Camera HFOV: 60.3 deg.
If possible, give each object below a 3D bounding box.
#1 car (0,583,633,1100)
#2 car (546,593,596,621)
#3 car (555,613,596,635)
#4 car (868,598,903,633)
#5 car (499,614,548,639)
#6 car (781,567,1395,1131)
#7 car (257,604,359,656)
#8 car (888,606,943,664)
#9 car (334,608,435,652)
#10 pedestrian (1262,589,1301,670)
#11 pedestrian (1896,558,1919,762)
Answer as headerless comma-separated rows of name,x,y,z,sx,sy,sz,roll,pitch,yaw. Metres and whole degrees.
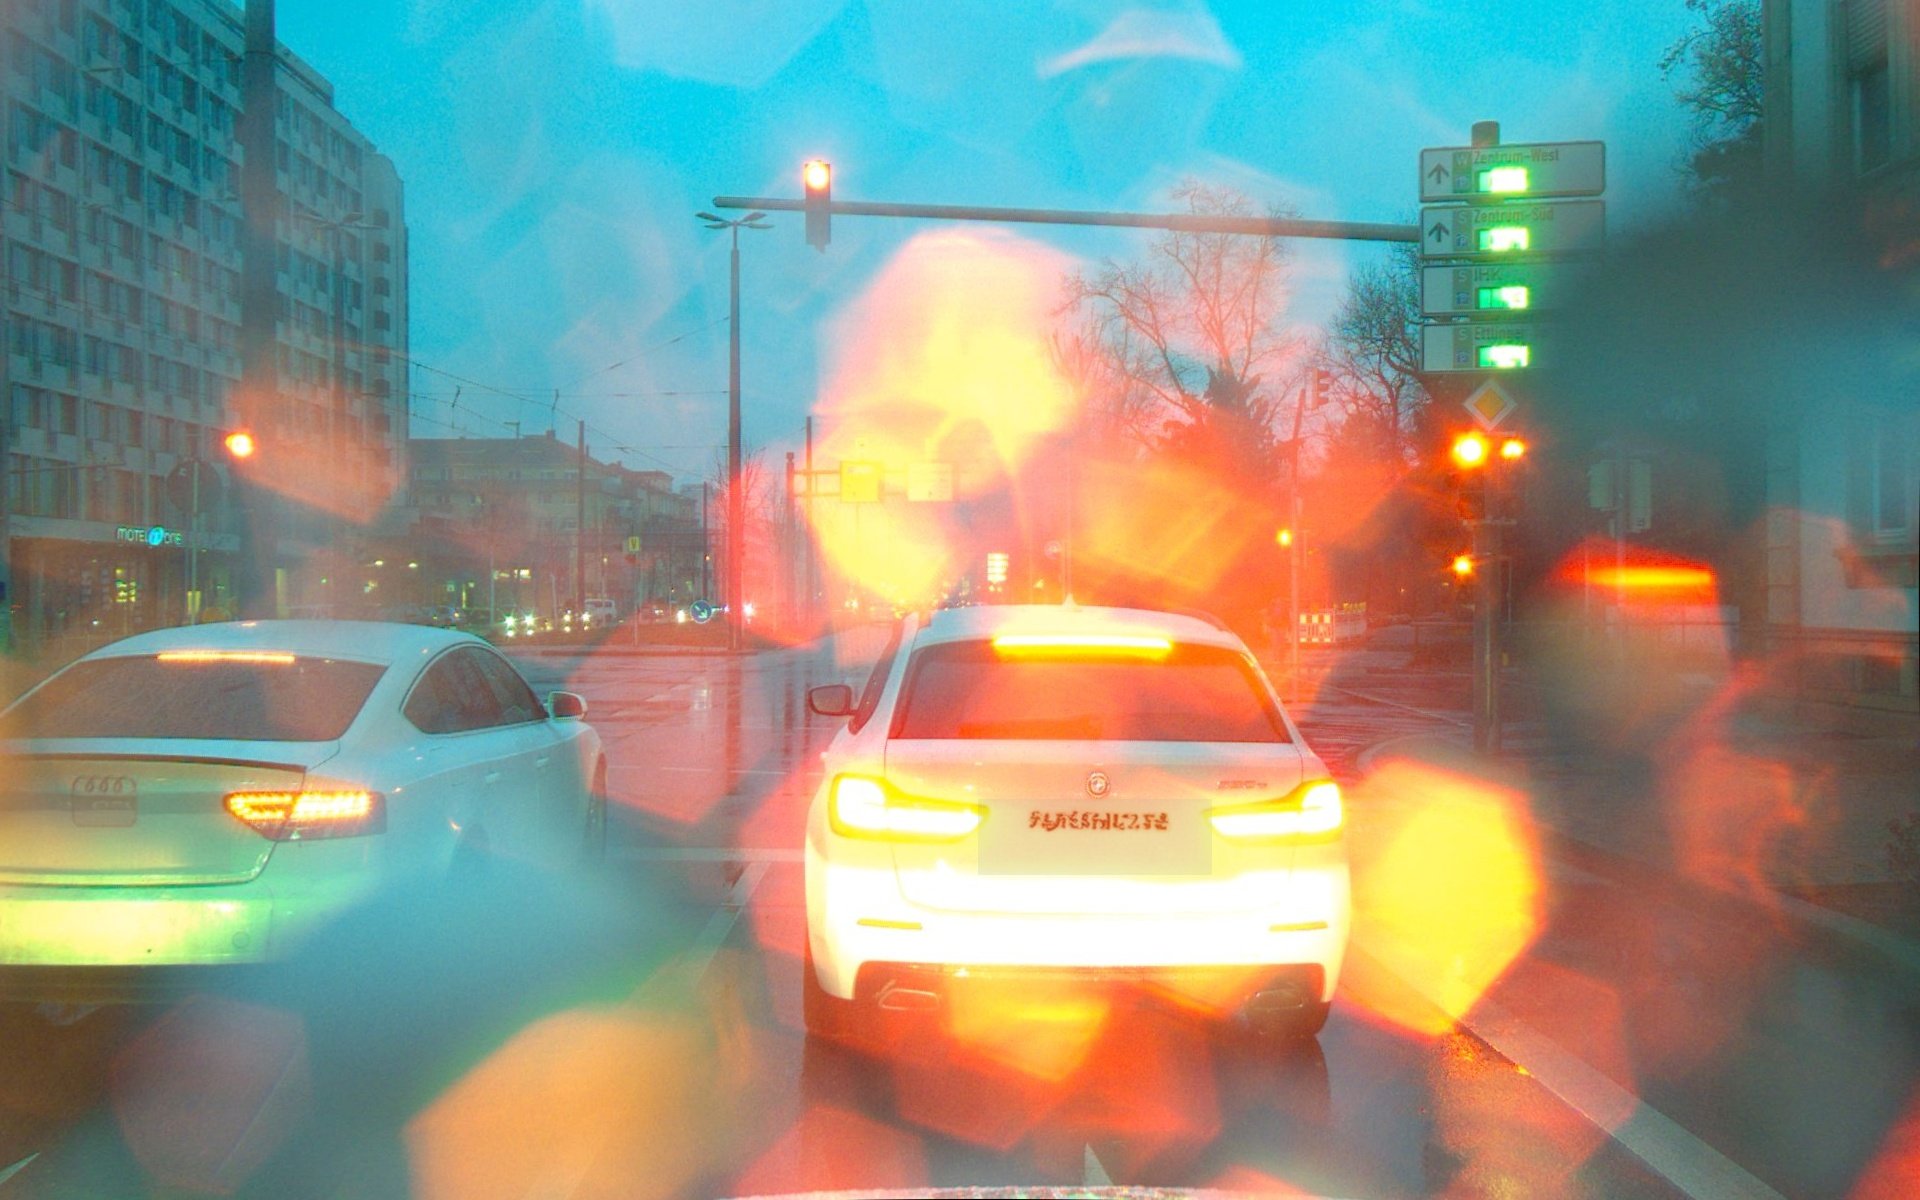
car,-2.569,0.712,6.935,1.724,1.495,4.249,1,0,-3
car,-22.026,0.395,93.765,1.954,1.487,5.090,1,0,-5
car,-27.761,1.715,119.613,1.954,1.487,5.092,1,0,-3
car,-4.523,0.930,100.744,1.953,2.049,3.999,1,0,-1
car,-27.725,1.652,105.112,1.954,1.487,5.092,1,0,-3
car,0.269,0.719,6.806,1.724,1.580,4.249,1,0,-3
car,-23.989,1.061,61.026,1.842,1.821,4.599,1,0,1
car,-1.639,1.280,61.488,1.953,2.049,3.999,1,0,-1
car,-21.049,1.061,60.673,1.953,1.487,5.094,1,0,-1
pedestrian,7.781,0.707,40.024,0.700,1.912,0.673,1,-1,35
pedestrian,8.257,0.495,13.598,0.765,1.661,1.011,1,-1,18
